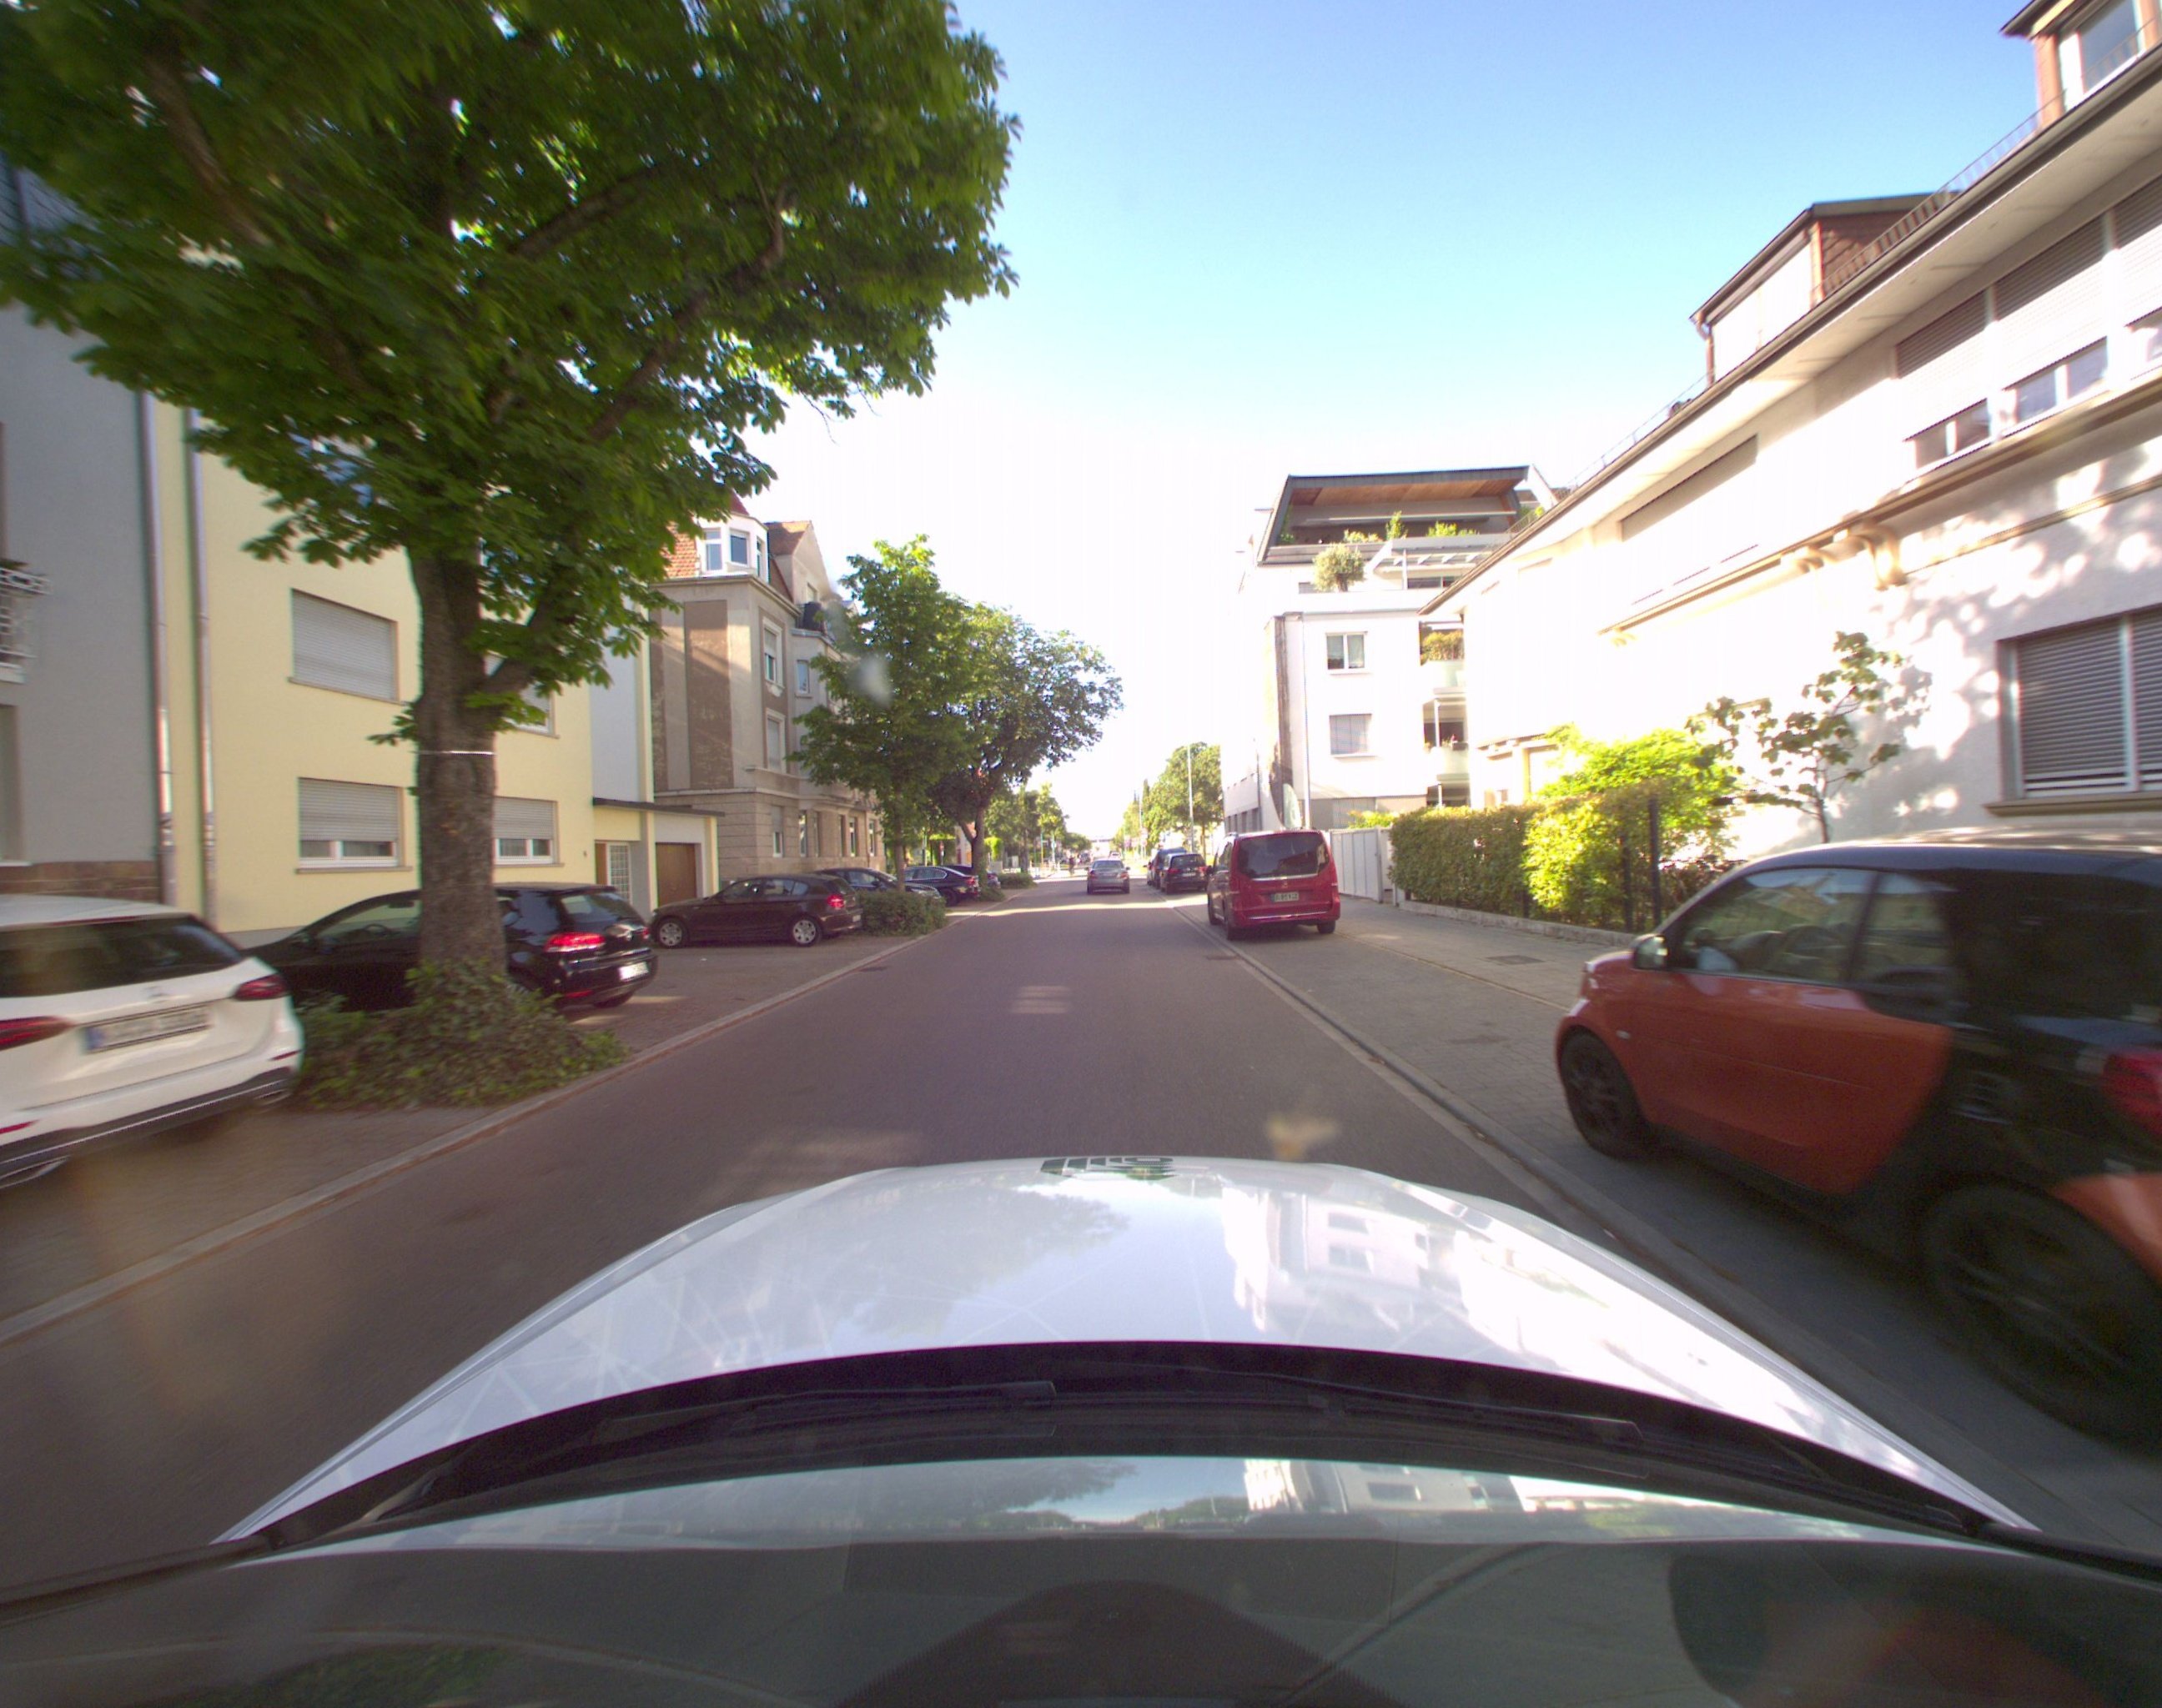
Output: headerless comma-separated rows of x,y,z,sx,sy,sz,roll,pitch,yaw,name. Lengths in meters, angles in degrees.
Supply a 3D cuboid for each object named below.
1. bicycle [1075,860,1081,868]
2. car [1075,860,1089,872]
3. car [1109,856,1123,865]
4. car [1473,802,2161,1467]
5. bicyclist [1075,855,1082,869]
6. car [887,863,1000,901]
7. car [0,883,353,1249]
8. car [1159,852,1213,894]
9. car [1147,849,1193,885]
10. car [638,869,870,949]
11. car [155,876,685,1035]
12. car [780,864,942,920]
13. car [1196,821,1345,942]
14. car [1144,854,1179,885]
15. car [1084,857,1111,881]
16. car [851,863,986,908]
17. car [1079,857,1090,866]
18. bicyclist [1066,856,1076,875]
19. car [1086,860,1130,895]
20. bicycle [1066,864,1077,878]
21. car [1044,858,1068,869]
-0.307,1.140,95.565,0.587,0.931,1.851,-2,0,3,bicycle
0.135,1.830,125.338,1.868,1.728,3.996,-2,0,-3,car
5.436,0.943,127.522,1.718,1.330,3.996,-2,0,-3,car
3.249,0.610,3.447,1.586,1.480,3.248,-4,0,1,car
-0.267,0.933,95.603,0.678,1.509,0.655,-2,0,3,bicyclist
-5.771,1.165,34.614,4.460,1.479,1.868,-1,-1,-1,car
-6.544,0.933,4.163,4.008,1.485,1.807,0,0,0,car
4.140,0.729,32.677,1.730,1.531,4.180,-2,0,2,car
4.133,0.638,38.419,1.676,1.435,4.267,-6,-2,2,car
-6.564,1.083,16.650,3.973,1.421,1.771,-1,1,0,car
-6.640,0.972,8.580,4.012,1.444,1.798,0,-1,-2,car
-6.175,1.054,23.300,4.167,1.500,1.996,0,-1,-6,car
3.489,0.490,16.035,1.864,1.905,5.201,-3,-1,3,car
4.190,0.825,42.781,1.558,1.410,3.732,-6,-2,3,car
1.063,0.966,52.319,1.701,1.448,4.203,0,-1,1,car
-5.803,1.127,29.414,4.460,1.479,1.868,-1,-1,-1,car
0.562,1.388,148.389,1.783,1.532,3.995,-3,-2,-3,car
-0.818,0.929,66.635,0.718,1.537,1.137,-3,0,2,bicyclist
1.177,0.990,34.606,1.720,1.420,3.962,0,-1,3,car
-0.782,1.347,66.659,0.716,1.079,1.892,-3,0,2,bicycle
-3.700,1.412,119.879,3.488,1.533,1.642,-2,0,-5,car
